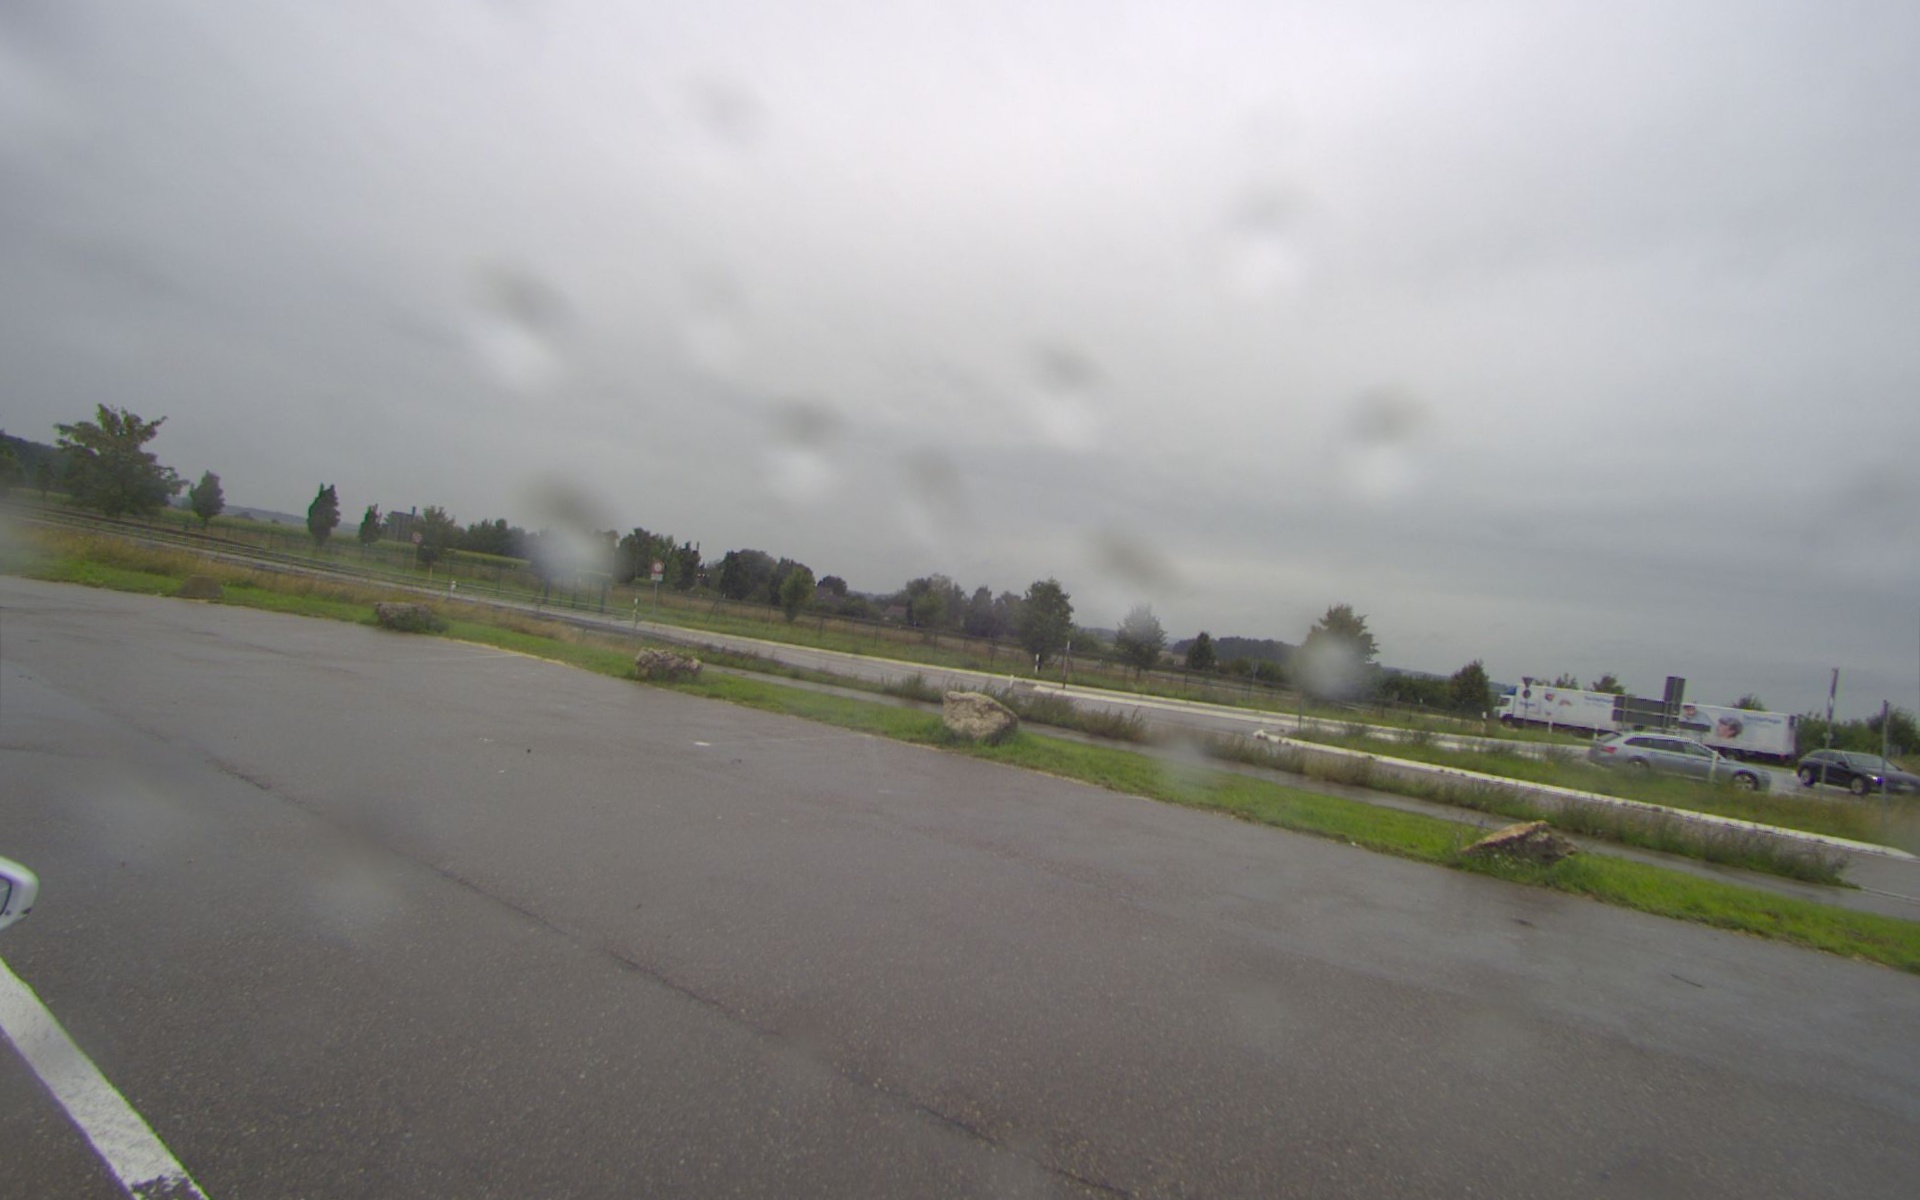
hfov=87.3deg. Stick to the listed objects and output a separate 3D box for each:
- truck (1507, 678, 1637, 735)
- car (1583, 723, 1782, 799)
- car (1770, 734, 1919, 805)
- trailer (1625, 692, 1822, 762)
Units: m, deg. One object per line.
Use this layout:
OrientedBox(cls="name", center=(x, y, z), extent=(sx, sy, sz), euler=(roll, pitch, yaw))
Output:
OrientedBox(cls="truck", center=(44.804, 7.755, 73.883), extent=(2.165, 2.941, 7.721), euler=(9, -2, -34))
OrientedBox(cls="car", center=(22.689, 5.017, 31.800), extent=(4.574, 1.500, 2.000), euler=(6, 0, 17))
OrientedBox(cls="car", center=(32.516, 6.124, 36.648), extent=(1.858, 1.705, 4.666), euler=(6, 0, -5))
OrientedBox(cls="trailer", center=(50.468, 8.315, 66.852), extent=(2.194, 2.935, 10.019), euler=(9, -2, -43))
